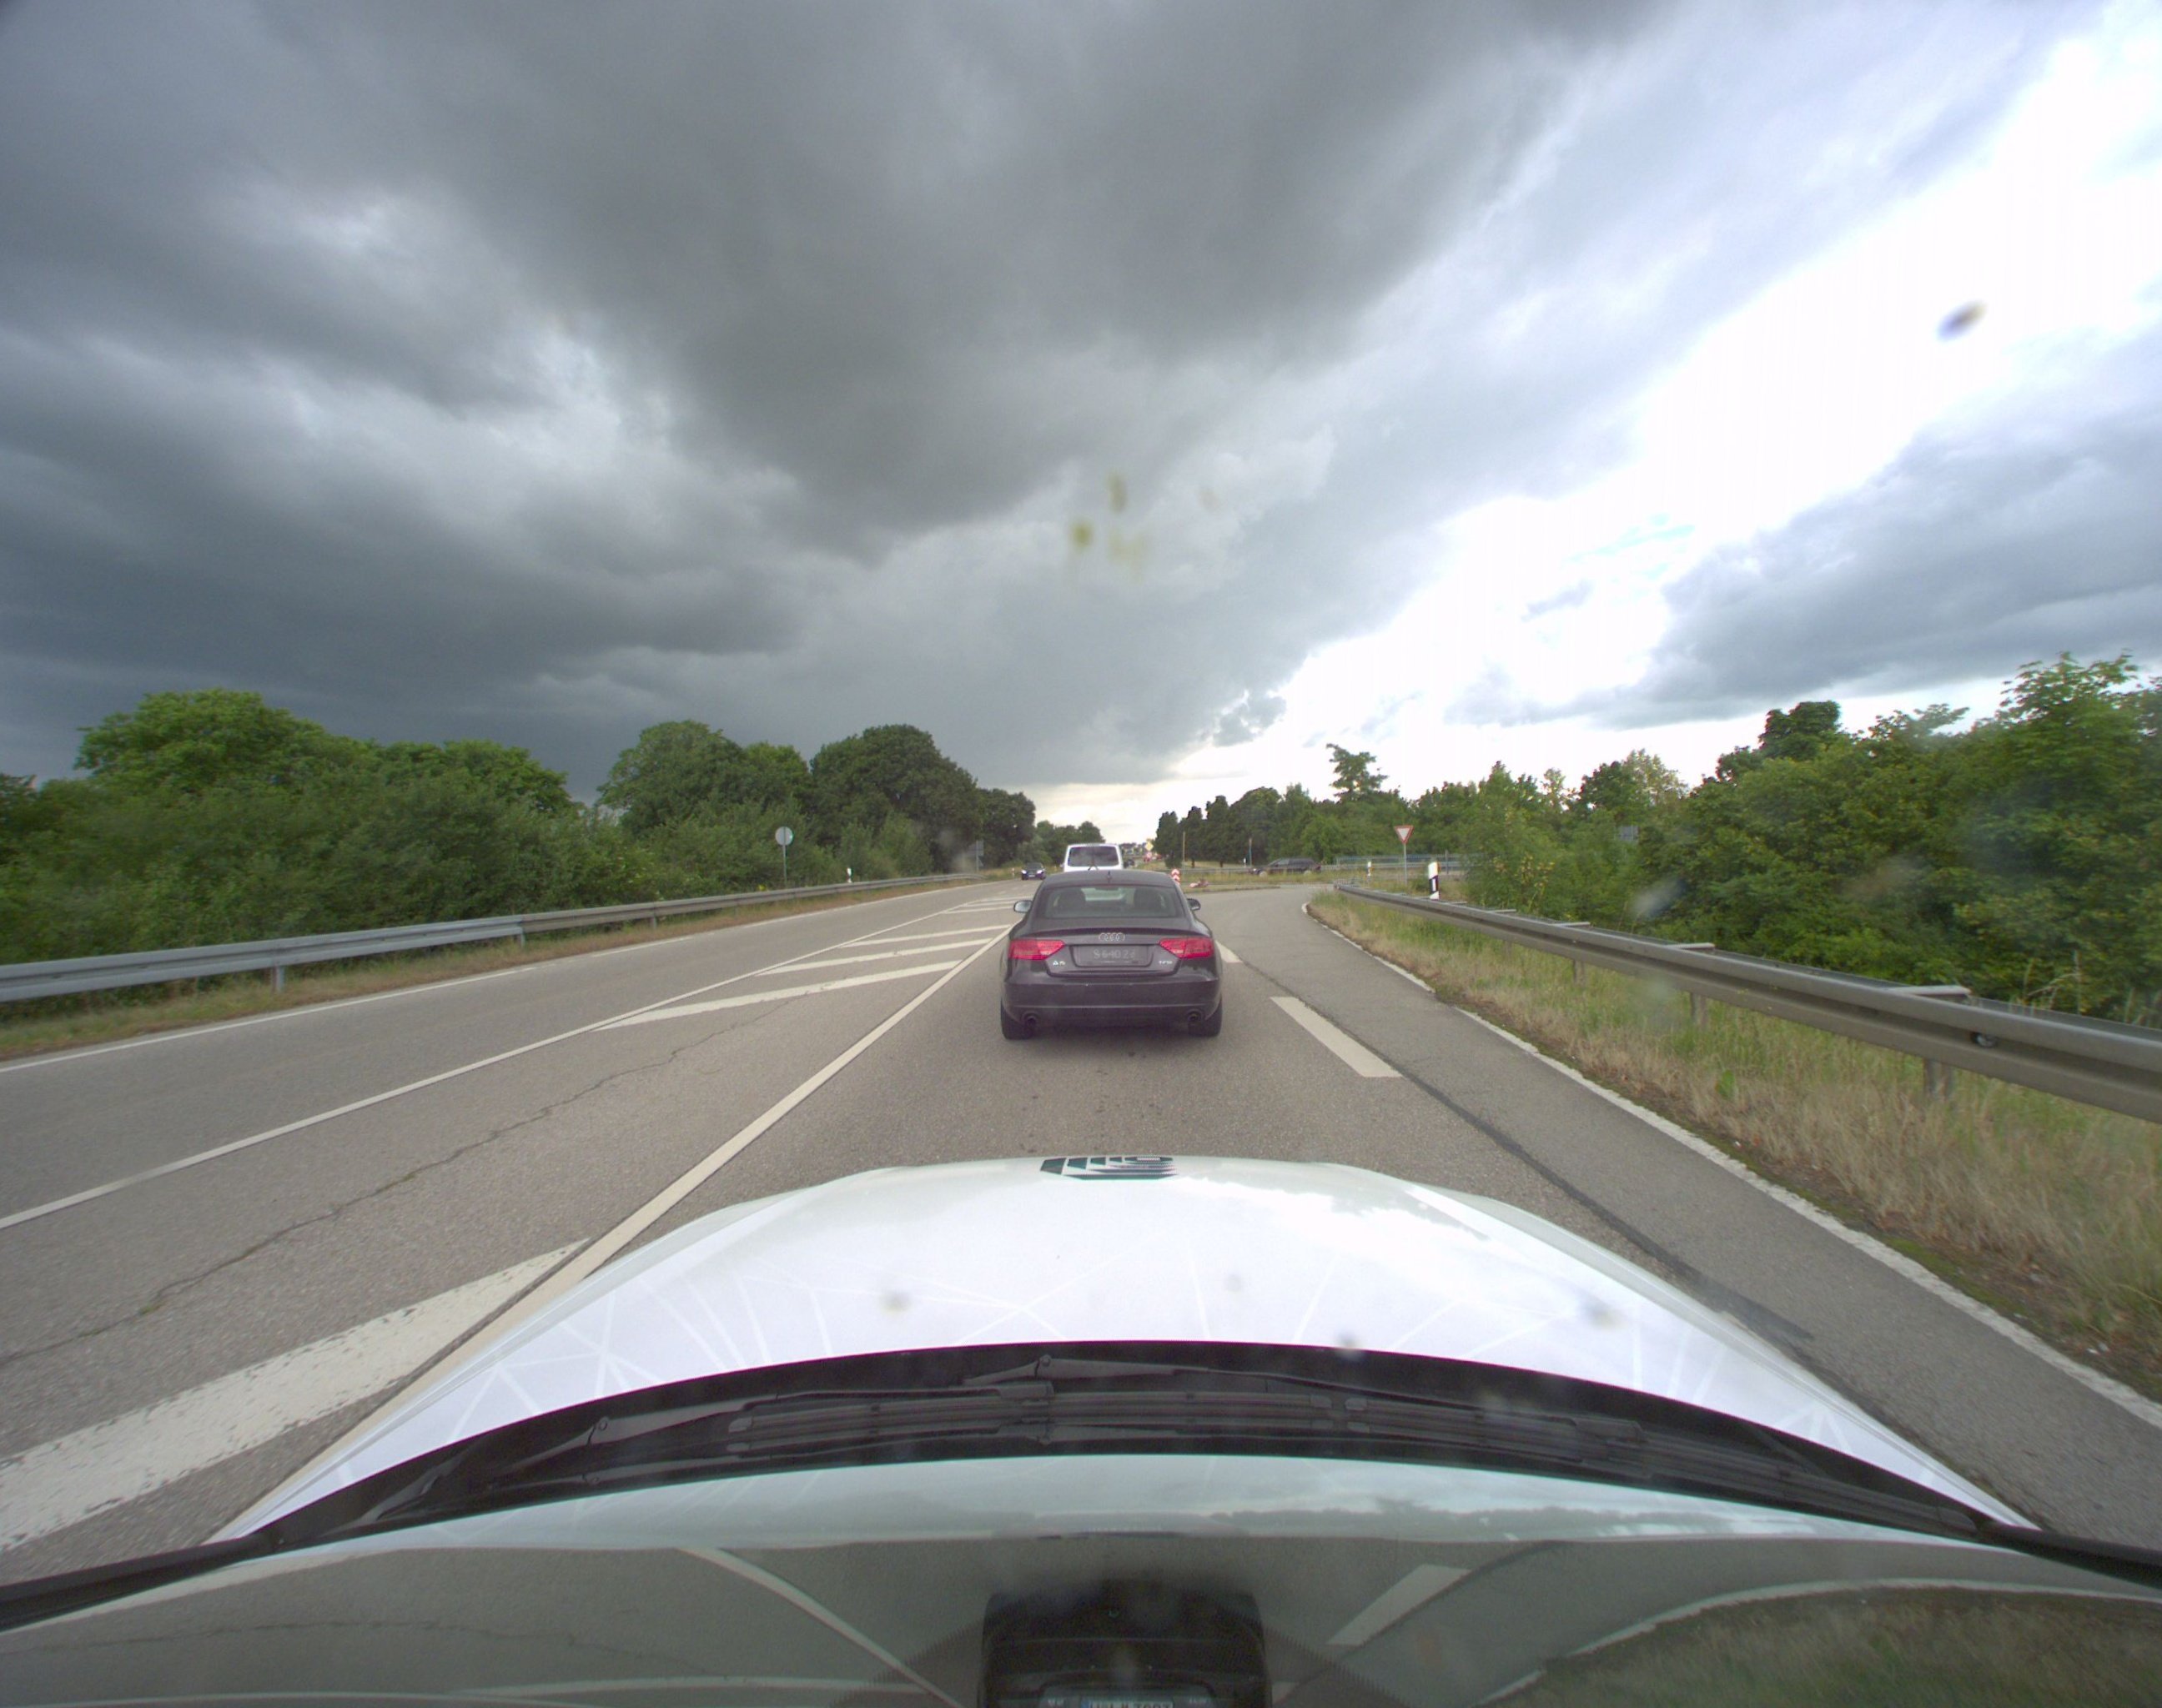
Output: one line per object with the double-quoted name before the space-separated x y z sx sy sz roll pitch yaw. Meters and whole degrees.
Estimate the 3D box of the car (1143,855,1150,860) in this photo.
"car" 19.978 1.058 247.334 1.985 1.692 4.004 -1 0 4

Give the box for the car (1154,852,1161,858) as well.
"car" 21.781 0.161 232.777 1.985 1.692 4.004 -1 0 4

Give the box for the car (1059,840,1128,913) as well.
"car" 0.383 0.621 24.588 1.903 2.013 4.001 -1 0 1

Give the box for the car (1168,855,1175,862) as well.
"car" 25.180 1.224 225.843 1.865 1.692 4.008 -1 0 7

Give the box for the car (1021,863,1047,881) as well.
"car" -4.026 1.526 70.017 1.790 1.398 3.487 -1 0 4

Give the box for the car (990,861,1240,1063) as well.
"car" 0.267 0.790 7.536 1.773 1.398 3.336 -1 0 1

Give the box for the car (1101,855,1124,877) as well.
"car" 3.075 1.121 77.897 2.072 2.064 4.880 -1 0 3

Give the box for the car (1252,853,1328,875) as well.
"car" 13.244 0.650 51.651 4.528 1.333 1.710 -1 0 18

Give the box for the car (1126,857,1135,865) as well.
"car" 11.445 1.607 188.852 1.984 1.692 4.007 -1 0 6
